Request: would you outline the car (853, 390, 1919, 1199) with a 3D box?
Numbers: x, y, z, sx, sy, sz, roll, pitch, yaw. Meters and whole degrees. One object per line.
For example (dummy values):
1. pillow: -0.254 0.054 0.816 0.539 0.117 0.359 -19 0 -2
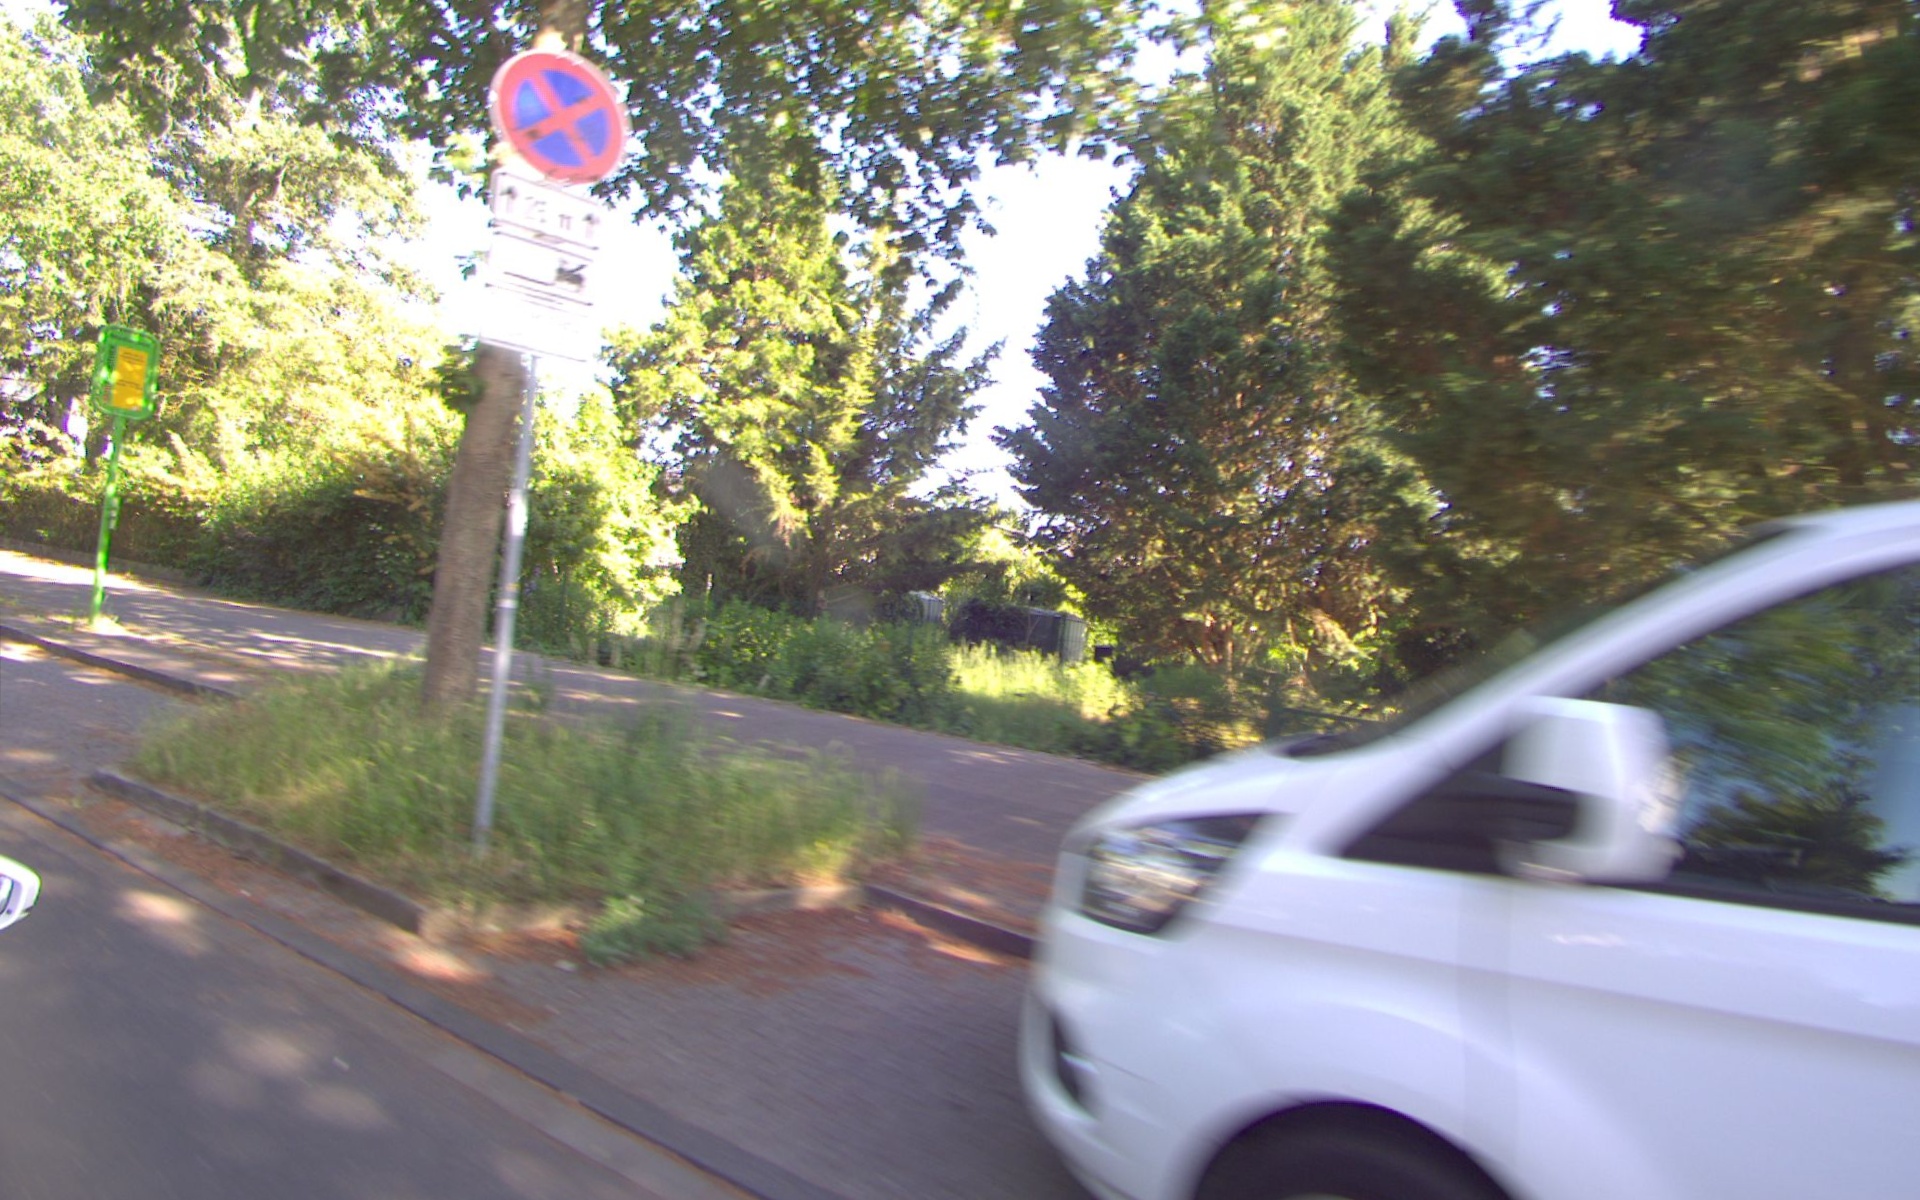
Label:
1. car: 2.551 0.916 1.839 5.107 2.035 2.000 6 -4 29
